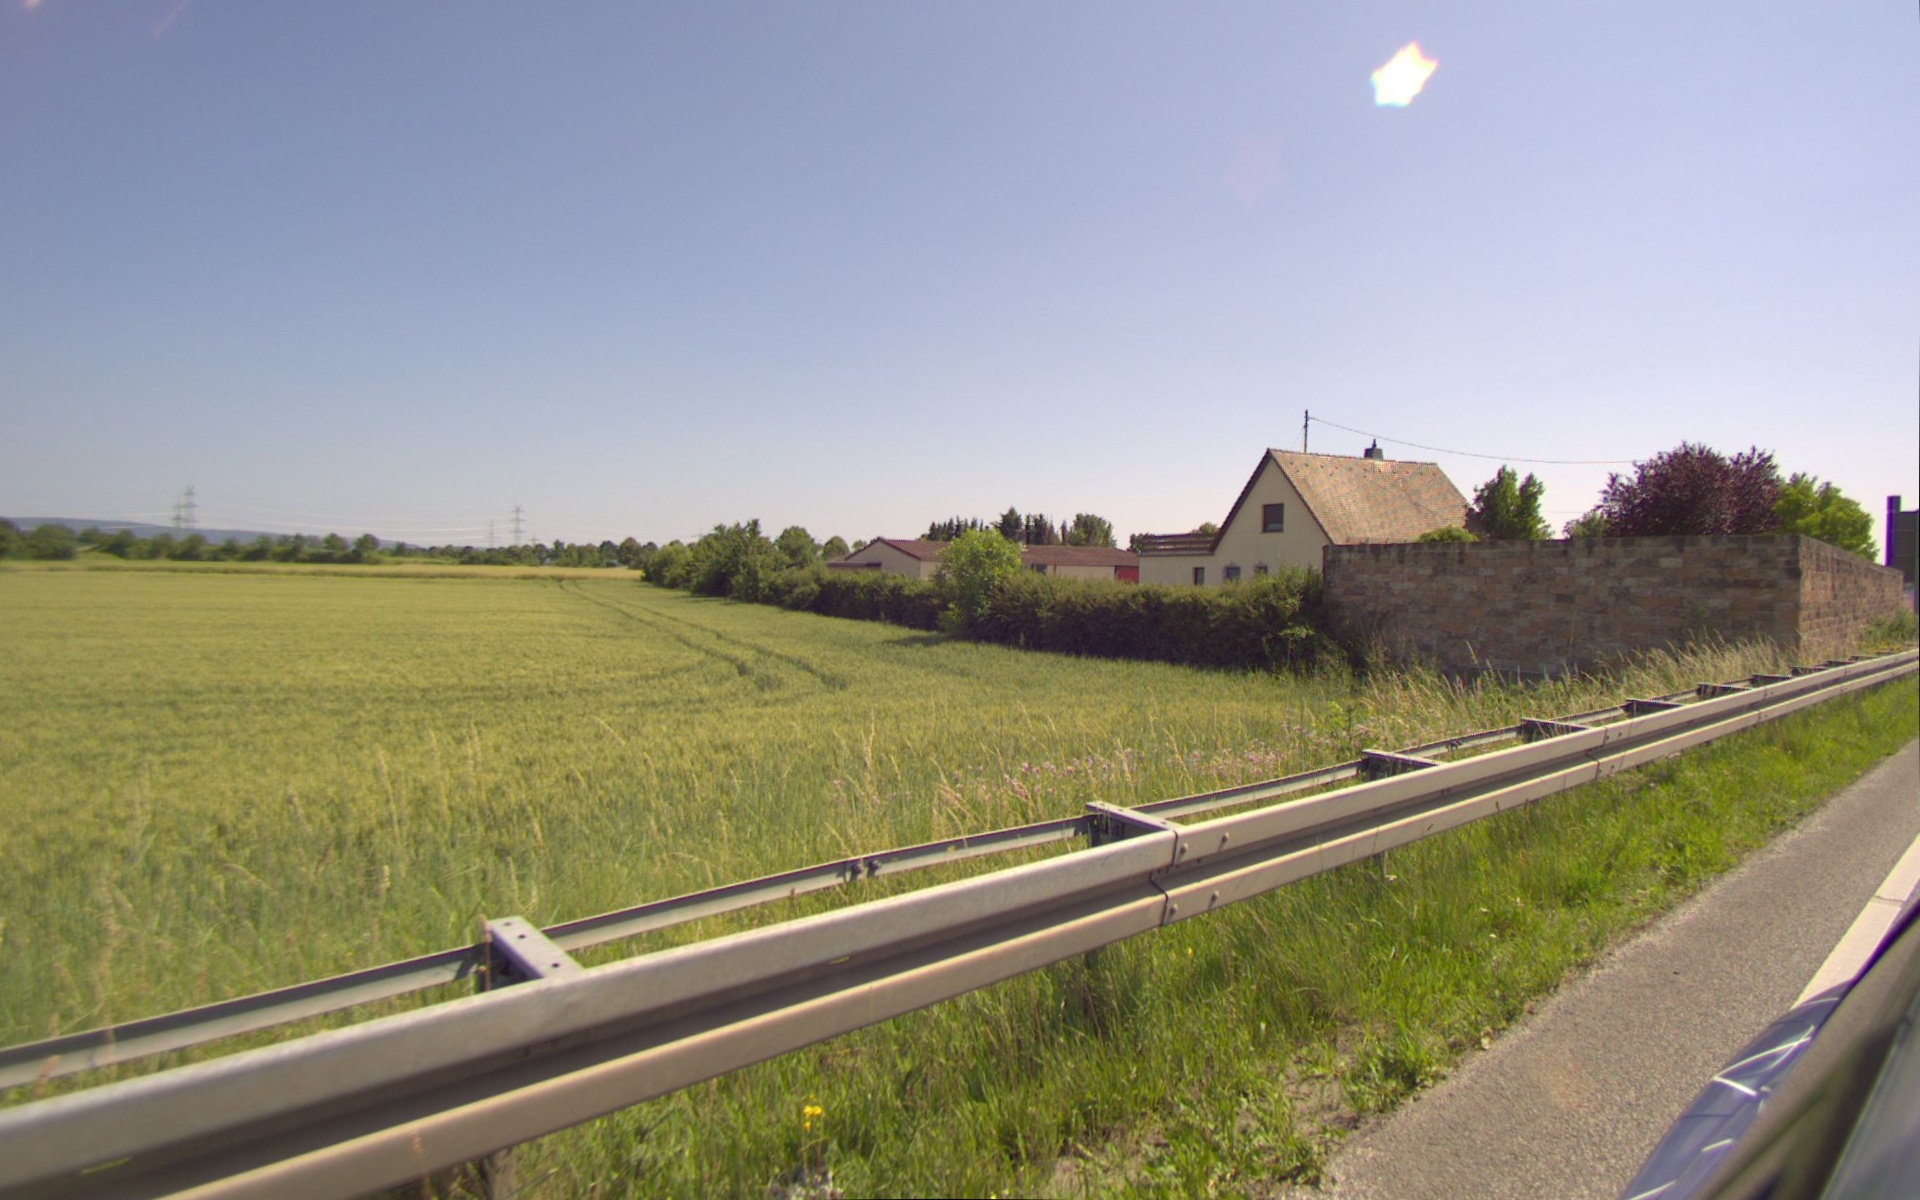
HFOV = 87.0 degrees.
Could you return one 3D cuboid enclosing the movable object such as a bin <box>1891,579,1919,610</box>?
[{"bbox_3d":[75.153,-0.430,78.592,4.091,2.360,1.258,0,0,42],"label":"movable object such as a bin"}]
